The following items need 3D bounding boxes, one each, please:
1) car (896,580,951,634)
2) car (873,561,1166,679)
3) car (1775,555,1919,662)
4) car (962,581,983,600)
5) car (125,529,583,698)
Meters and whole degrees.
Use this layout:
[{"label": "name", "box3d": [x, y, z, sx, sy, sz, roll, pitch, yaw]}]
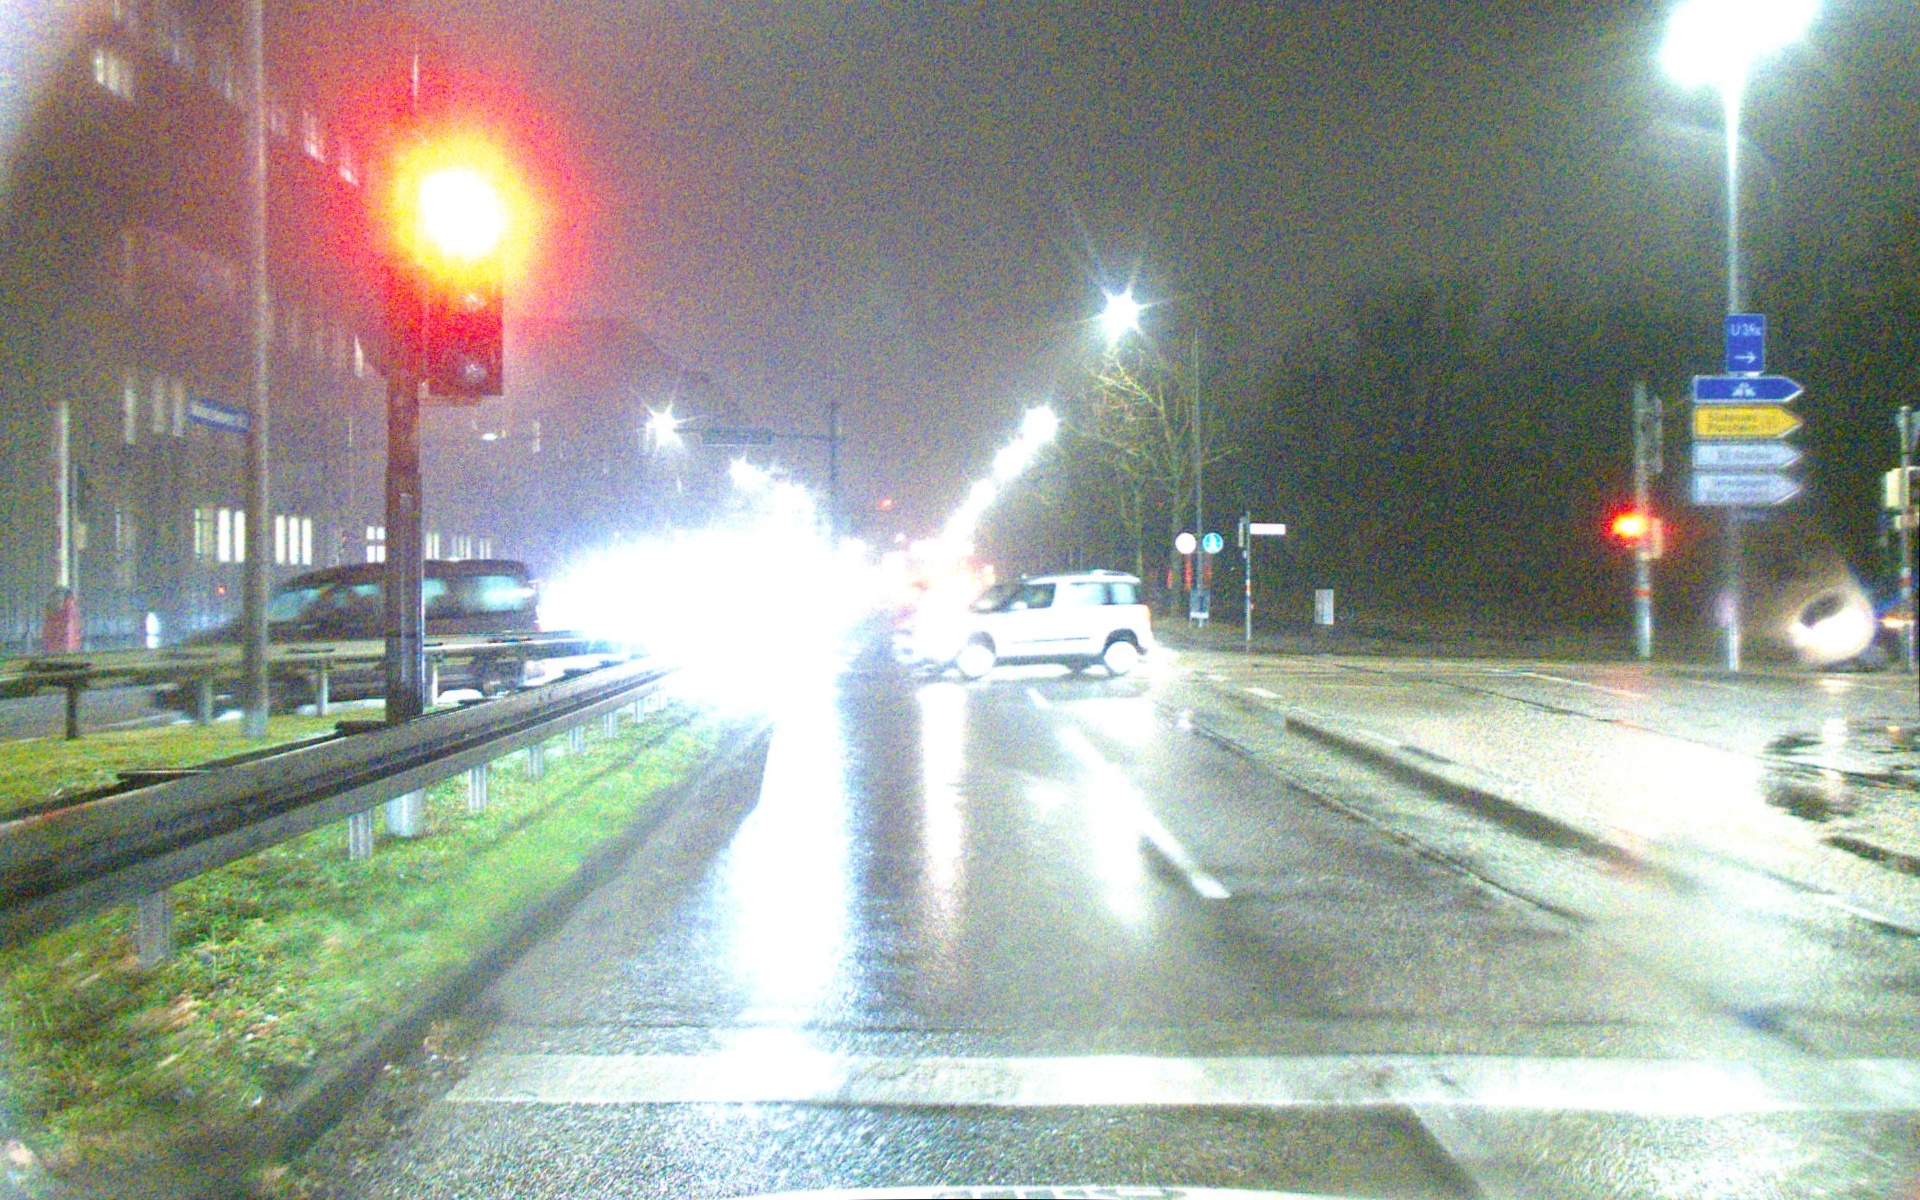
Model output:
[{"label": "car", "box3d": [-1.498, 0.290, 66.467, 1.954, 2.049, 4.628, 1, 0, -4]}, {"label": "car", "box3d": [0.946, 0.333, 26.561, 4.321, 1.771, 1.898, 1, 0, -22]}, {"label": "car", "box3d": [16.853, 0.173, 28.778, 4.397, 1.780, 1.860, 1, 0, 3]}, {"label": "car", "box3d": [1.200, -0.959, 162.112, 1.953, 1.790, 3.999, 1, 0, -1]}, {"label": "car", "box3d": [-7.107, 0.168, 19.897, 1.934, 1.771, 4.894, 1, 0, 39]}]
